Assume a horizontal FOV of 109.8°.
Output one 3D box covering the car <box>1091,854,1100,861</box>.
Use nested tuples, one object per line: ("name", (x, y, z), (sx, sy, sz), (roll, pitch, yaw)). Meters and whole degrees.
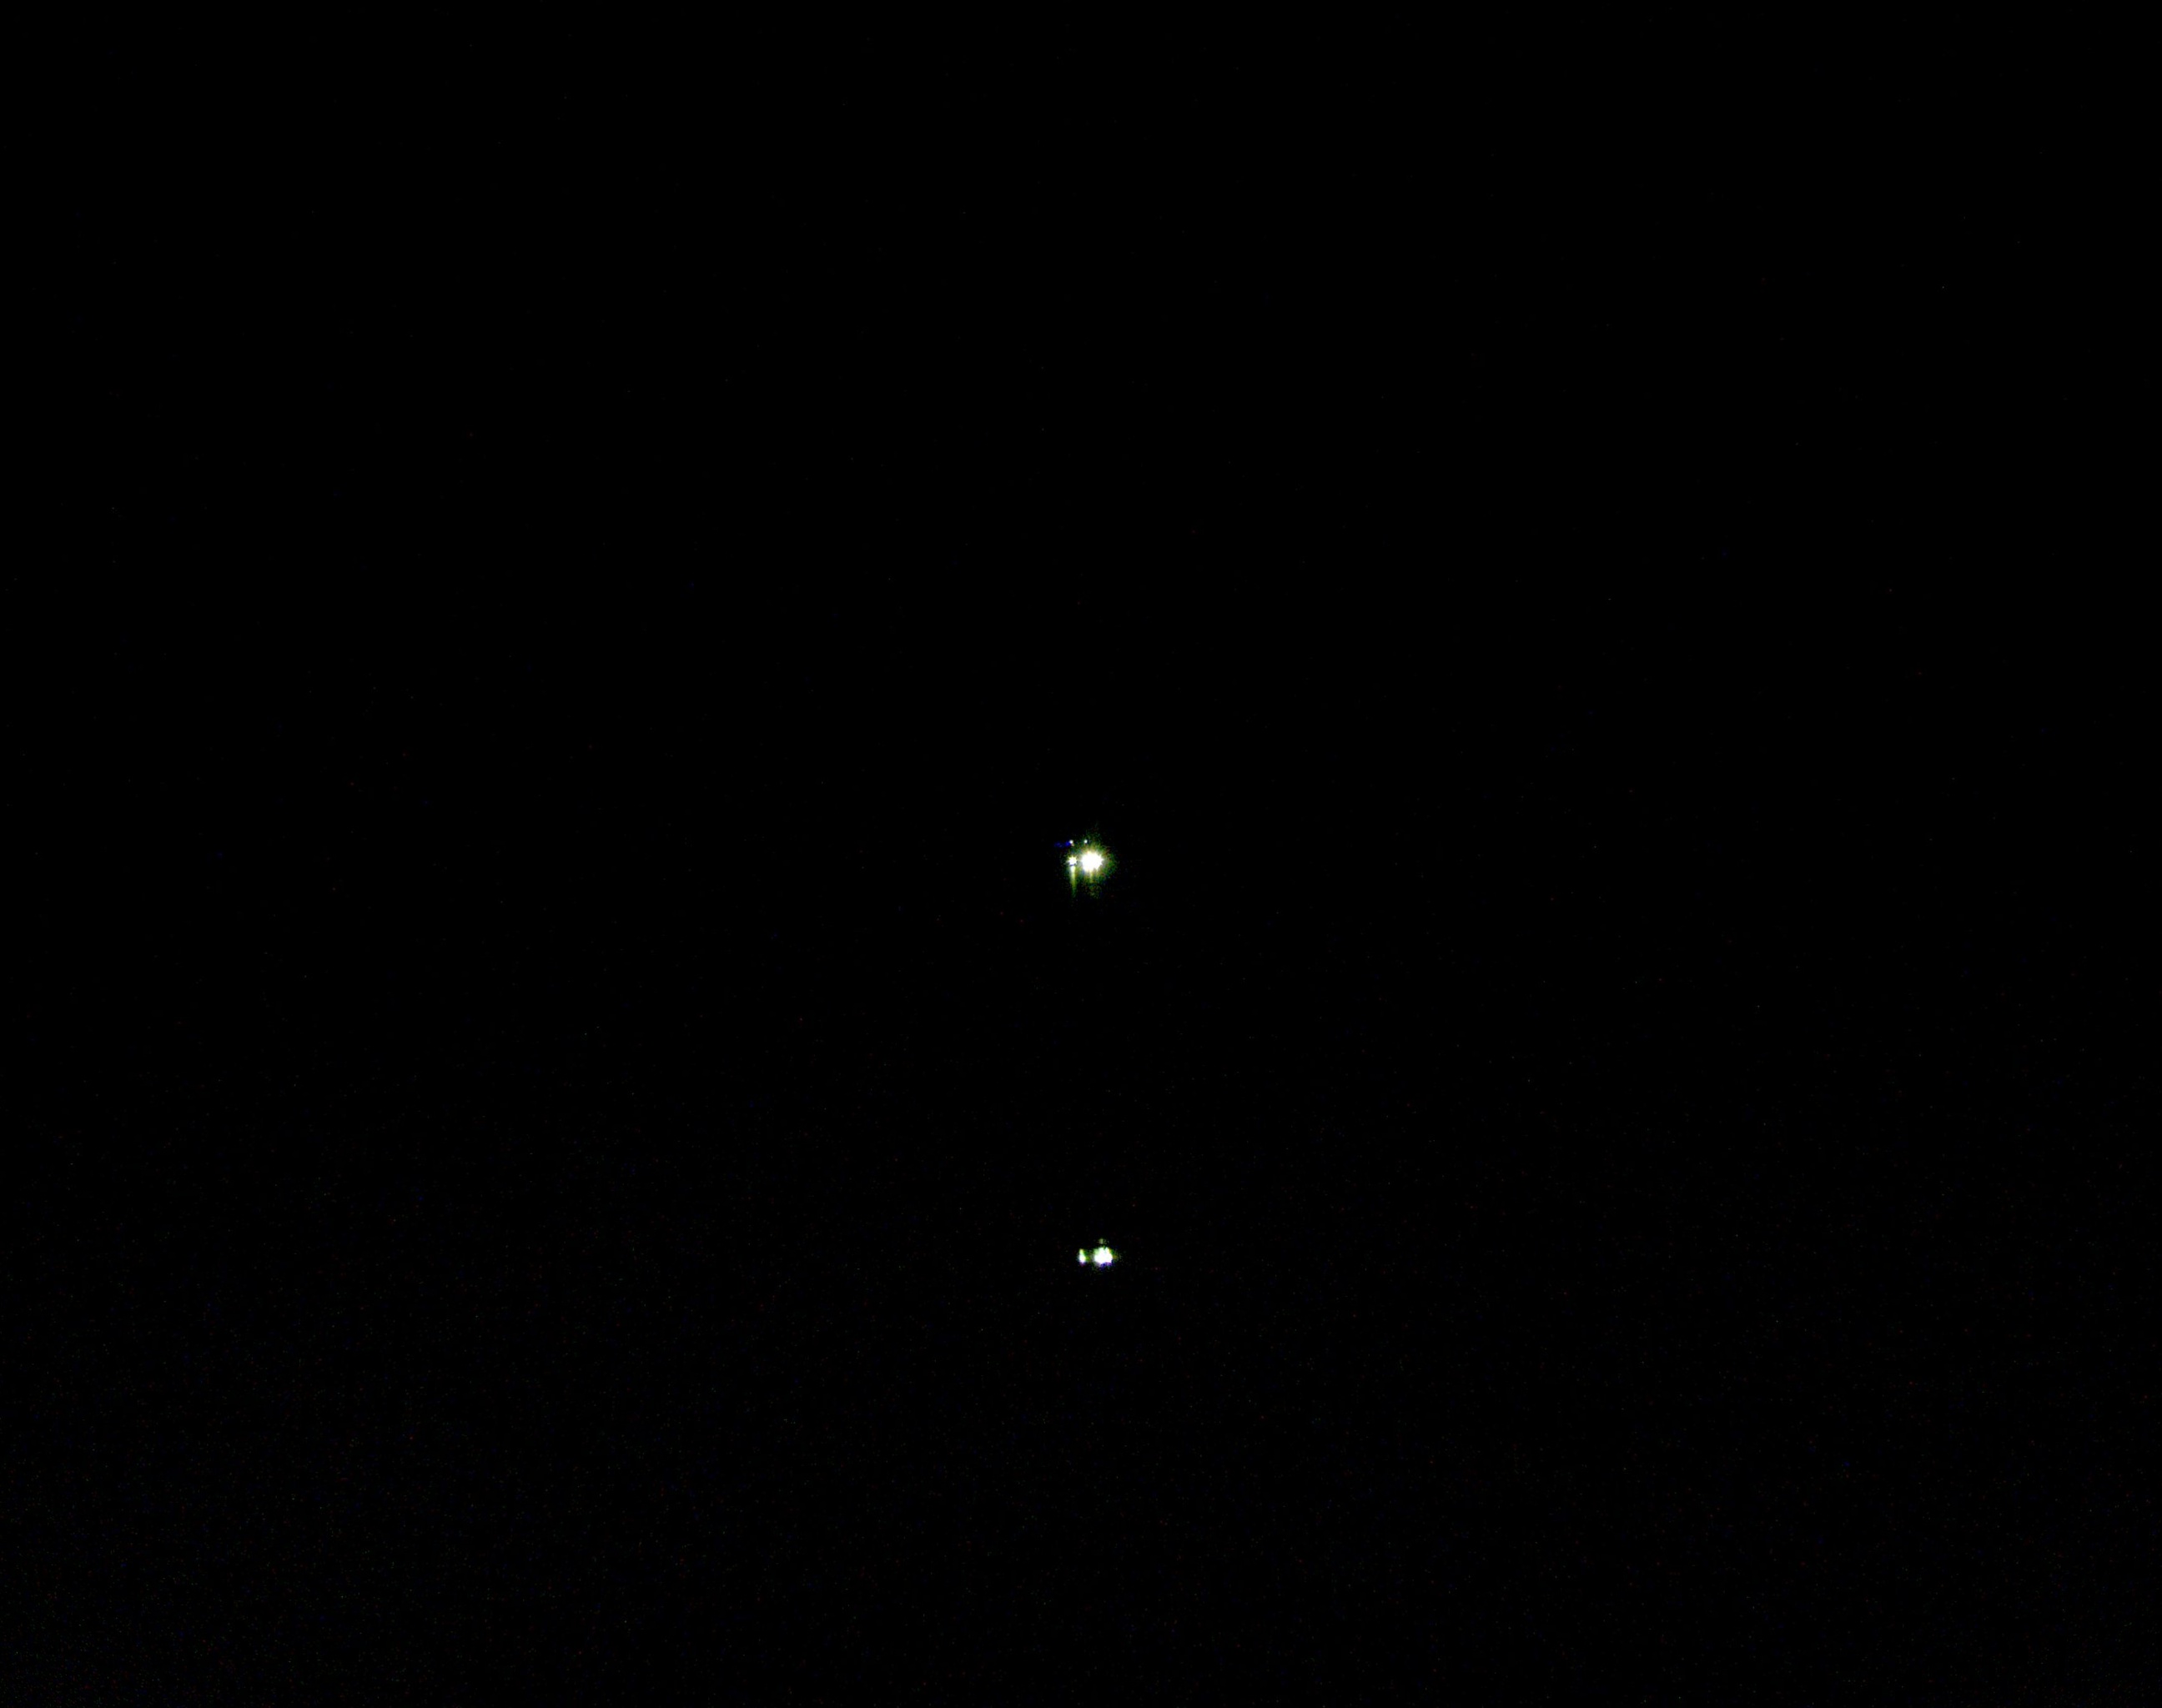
("car", (3.517, 0.805, 180.150), (1.845, 1.475, 4.293), (-3, 0, 4))

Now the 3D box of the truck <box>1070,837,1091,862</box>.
("truck", (-0.041, -0.718, 124.606), (3.003, 3.877, 12.887), (-3, 0, 1))
